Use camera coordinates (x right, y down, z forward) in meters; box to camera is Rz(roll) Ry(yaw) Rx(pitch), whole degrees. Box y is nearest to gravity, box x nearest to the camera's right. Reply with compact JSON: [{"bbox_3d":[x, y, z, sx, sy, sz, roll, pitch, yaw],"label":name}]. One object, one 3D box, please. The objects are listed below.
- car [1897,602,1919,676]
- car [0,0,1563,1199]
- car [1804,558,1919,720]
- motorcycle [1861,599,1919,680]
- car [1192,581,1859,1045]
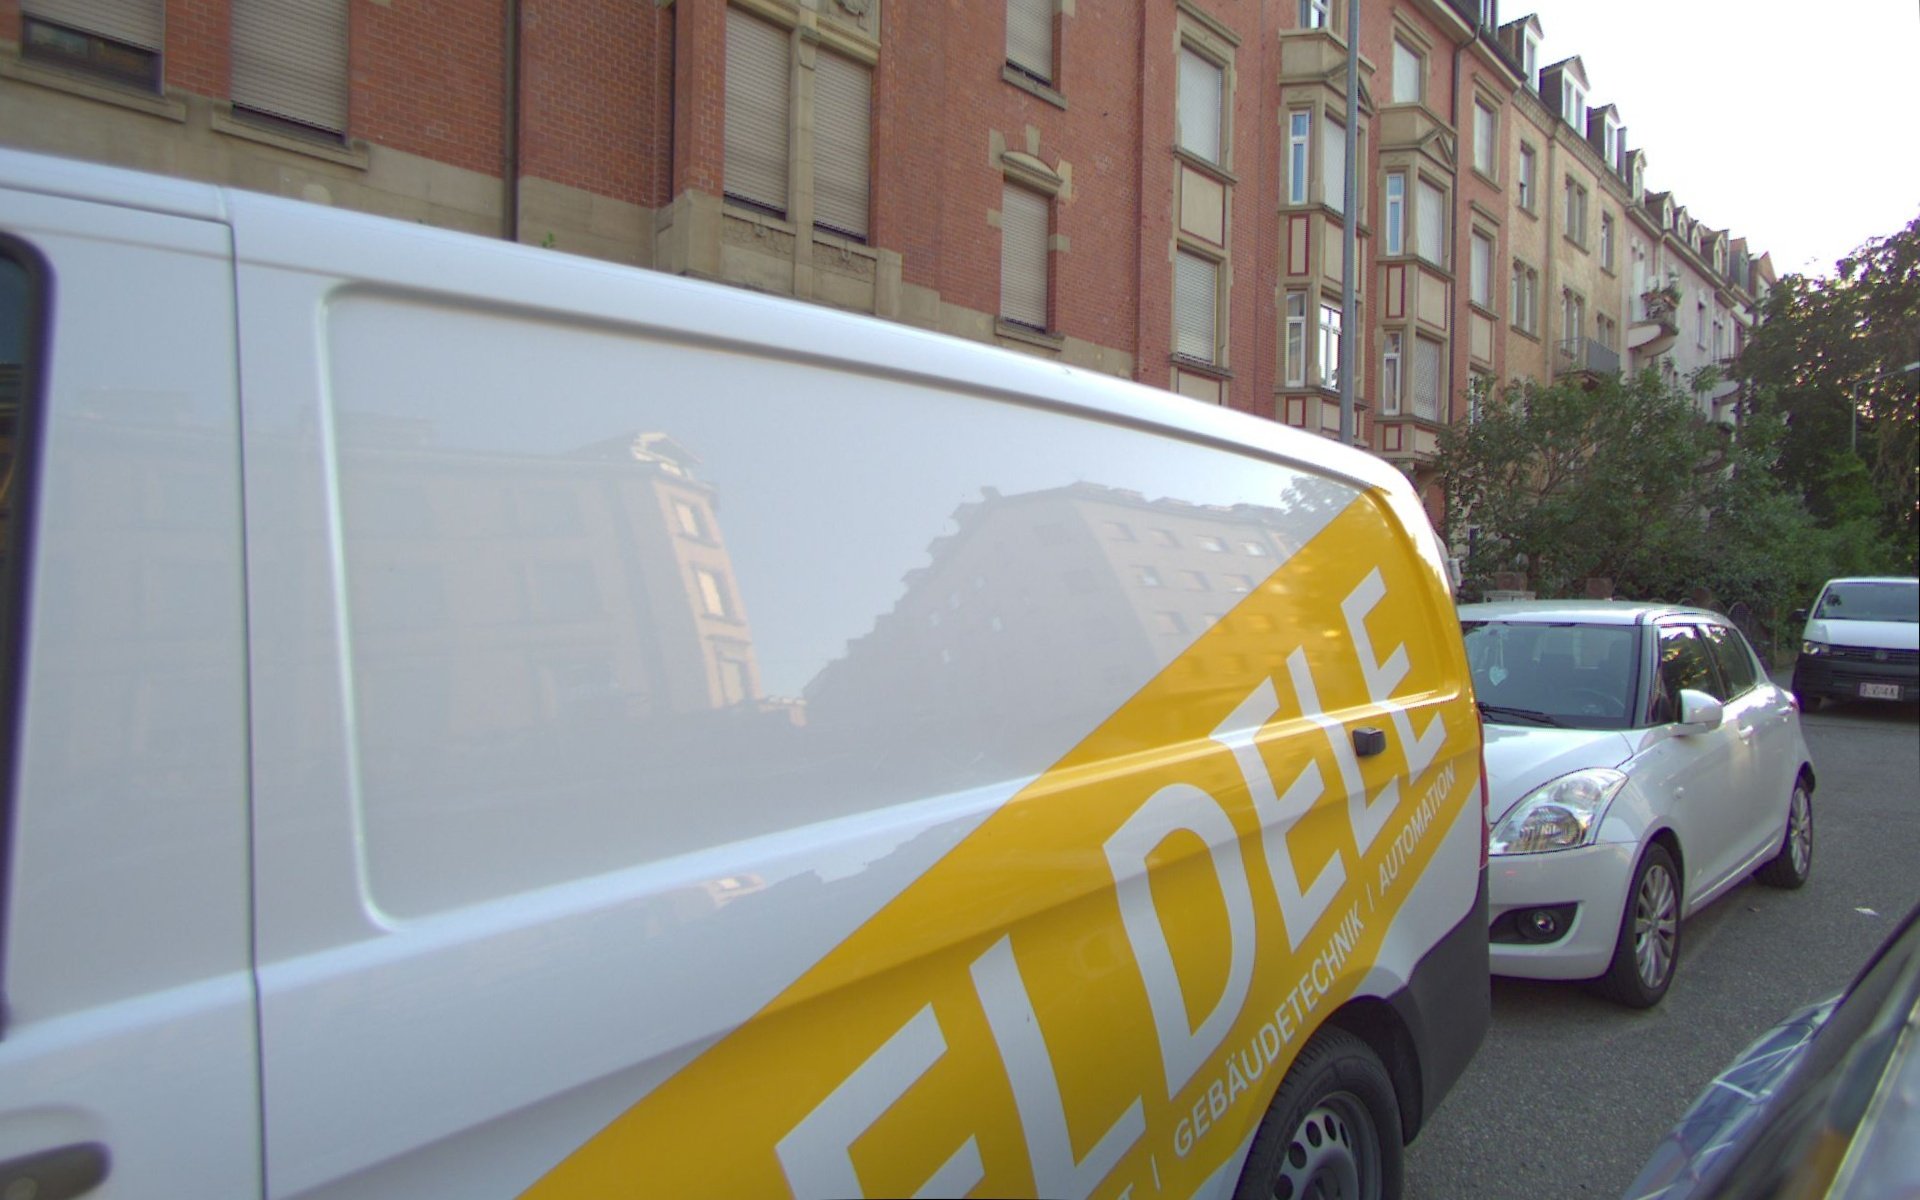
[{"bbox_3d":[22.232,0.830,22.354,4.248,1.571,1.723,0,0,-40],"label":"car"},{"bbox_3d":[-0.988,0.466,1.529,4.995,1.908,1.896,0,0,-42],"label":"car"},{"bbox_3d":[14.199,0.504,14.986,5.451,2.064,1.864,0,2,-43],"label":"car"},{"bbox_3d":[19.160,0.793,19.692,2.066,1.500,1.128,3,2,16],"label":"motorcycle"},{"bbox_3d":[3.041,0.682,5.122,3.792,1.496,1.678,0,0,-39],"label":"car"}]
